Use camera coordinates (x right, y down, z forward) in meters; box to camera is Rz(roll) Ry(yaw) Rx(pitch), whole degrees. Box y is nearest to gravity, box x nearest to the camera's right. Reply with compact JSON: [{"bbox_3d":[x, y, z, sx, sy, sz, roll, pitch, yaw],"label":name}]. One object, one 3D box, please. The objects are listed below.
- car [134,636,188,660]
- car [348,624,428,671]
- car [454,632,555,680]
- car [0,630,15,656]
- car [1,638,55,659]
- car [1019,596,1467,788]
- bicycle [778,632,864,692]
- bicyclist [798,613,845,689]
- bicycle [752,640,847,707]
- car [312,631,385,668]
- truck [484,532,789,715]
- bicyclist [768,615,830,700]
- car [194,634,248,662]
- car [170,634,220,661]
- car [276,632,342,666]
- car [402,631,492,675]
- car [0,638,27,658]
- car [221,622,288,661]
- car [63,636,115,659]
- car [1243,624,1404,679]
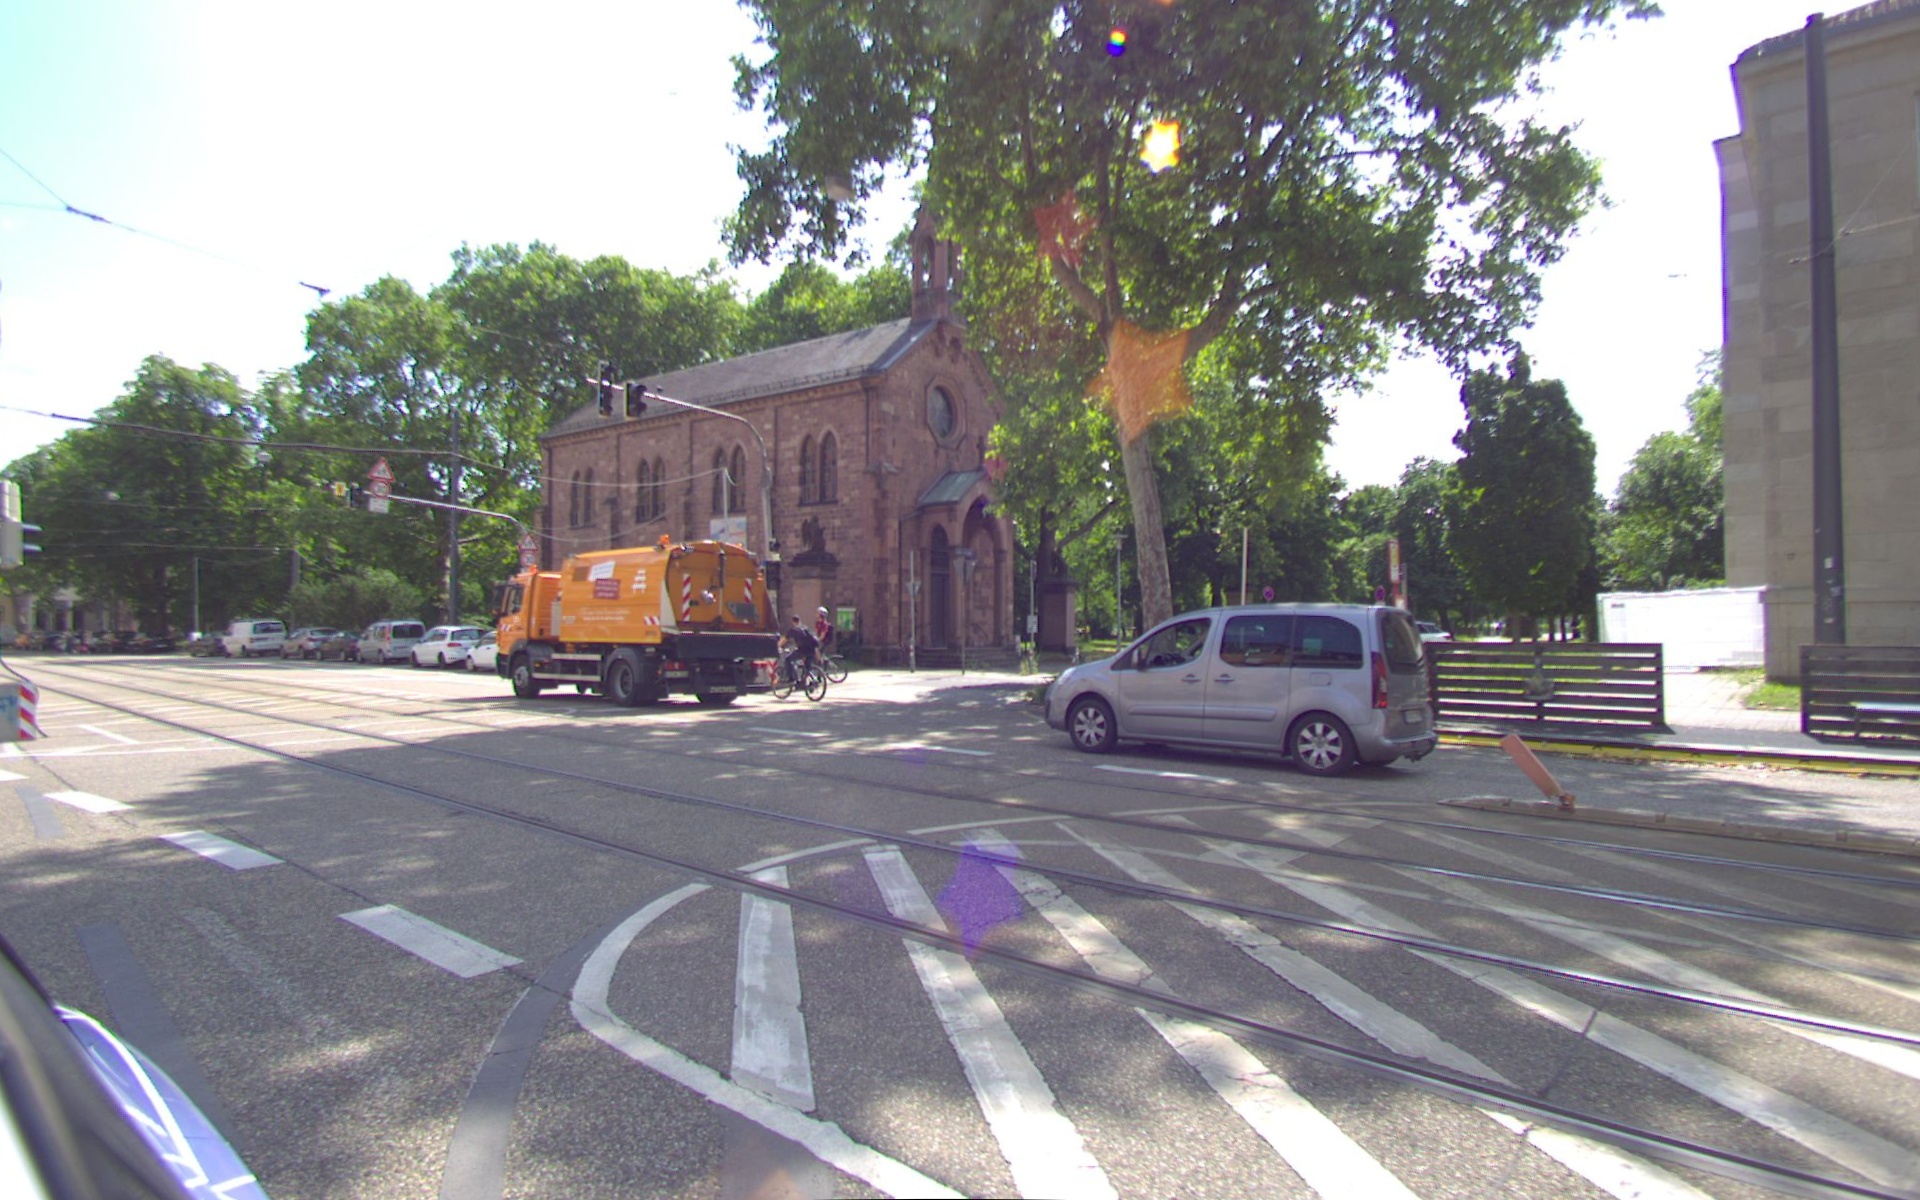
[{"bbox_3d":[-52.658,3.135,66.688,3.991,1.508,1.742,-1,0,35],"label":"car"},{"bbox_3d":[-24.029,1.934,42.483,3.999,1.850,1.738,-1,0,42],"label":"car"},{"bbox_3d":[-15.924,1.902,35.314,3.999,1.508,1.738,-1,0,42],"label":"car"},{"bbox_3d":[-83.789,3.707,87.020,3.959,2.201,1.755,-1,0,13],"label":"car"},{"bbox_3d":[-72.186,3.726,78.378,3.977,1.508,1.747,-1,0,25],"label":"car"},{"bbox_3d":[3.055,0.932,11.503,4.534,1.759,1.901,-1,-4,41],"label":"car"},{"bbox_3d":[-3.400,1.504,24.916,2.058,1.299,0.672,-3,1,-44],"label":"bicycle"},{"bbox_3d":[-3.401,1.237,24.919,0.872,1.798,0.663,-2,0,-44],"label":"bicyclist"},{"bbox_3d":[-3.356,1.493,21.059,2.217,1.300,0.697,-2,-2,41],"label":"bicycle"},{"bbox_3d":[-27.733,2.197,45.860,3.999,1.508,1.738,-1,0,42],"label":"car"},{"bbox_3d":[-6.833,0.512,20.739,7.220,3.130,2.611,-1,-3,42],"label":"truck"},{"bbox_3d":[-3.355,1.174,21.065,1.175,1.699,0.694,-2,-2,41],"label":"bicyclist"},{"bbox_3d":[-42.901,2.759,58.743,3.999,1.508,1.738,-1,0,42],"label":"car"},{"bbox_3d":[-47.746,2.934,63.147,3.999,1.508,1.738,-1,0,42],"label":"car"},{"bbox_3d":[-31.713,2.350,49.276,3.999,1.508,1.738,-1,0,42],"label":"car"},{"bbox_3d":[-19.533,1.977,38.485,3.999,1.508,1.738,-1,0,42],"label":"car"},{"bbox_3d":[-76.242,3.771,80.332,3.974,1.508,1.749,-1,0,23],"label":"car"},{"bbox_3d":[-38.423,2.233,55.080,4.081,2.019,1.969,-1,0,39],"label":"car"},{"bbox_3d":[-62.322,3.375,72.380,3.988,1.508,1.743,-1,0,33],"label":"car"},{"bbox_3d":[10.947,1.542,30.786,4.364,1.620,1.755,0,-2,12],"label":"car"}]
